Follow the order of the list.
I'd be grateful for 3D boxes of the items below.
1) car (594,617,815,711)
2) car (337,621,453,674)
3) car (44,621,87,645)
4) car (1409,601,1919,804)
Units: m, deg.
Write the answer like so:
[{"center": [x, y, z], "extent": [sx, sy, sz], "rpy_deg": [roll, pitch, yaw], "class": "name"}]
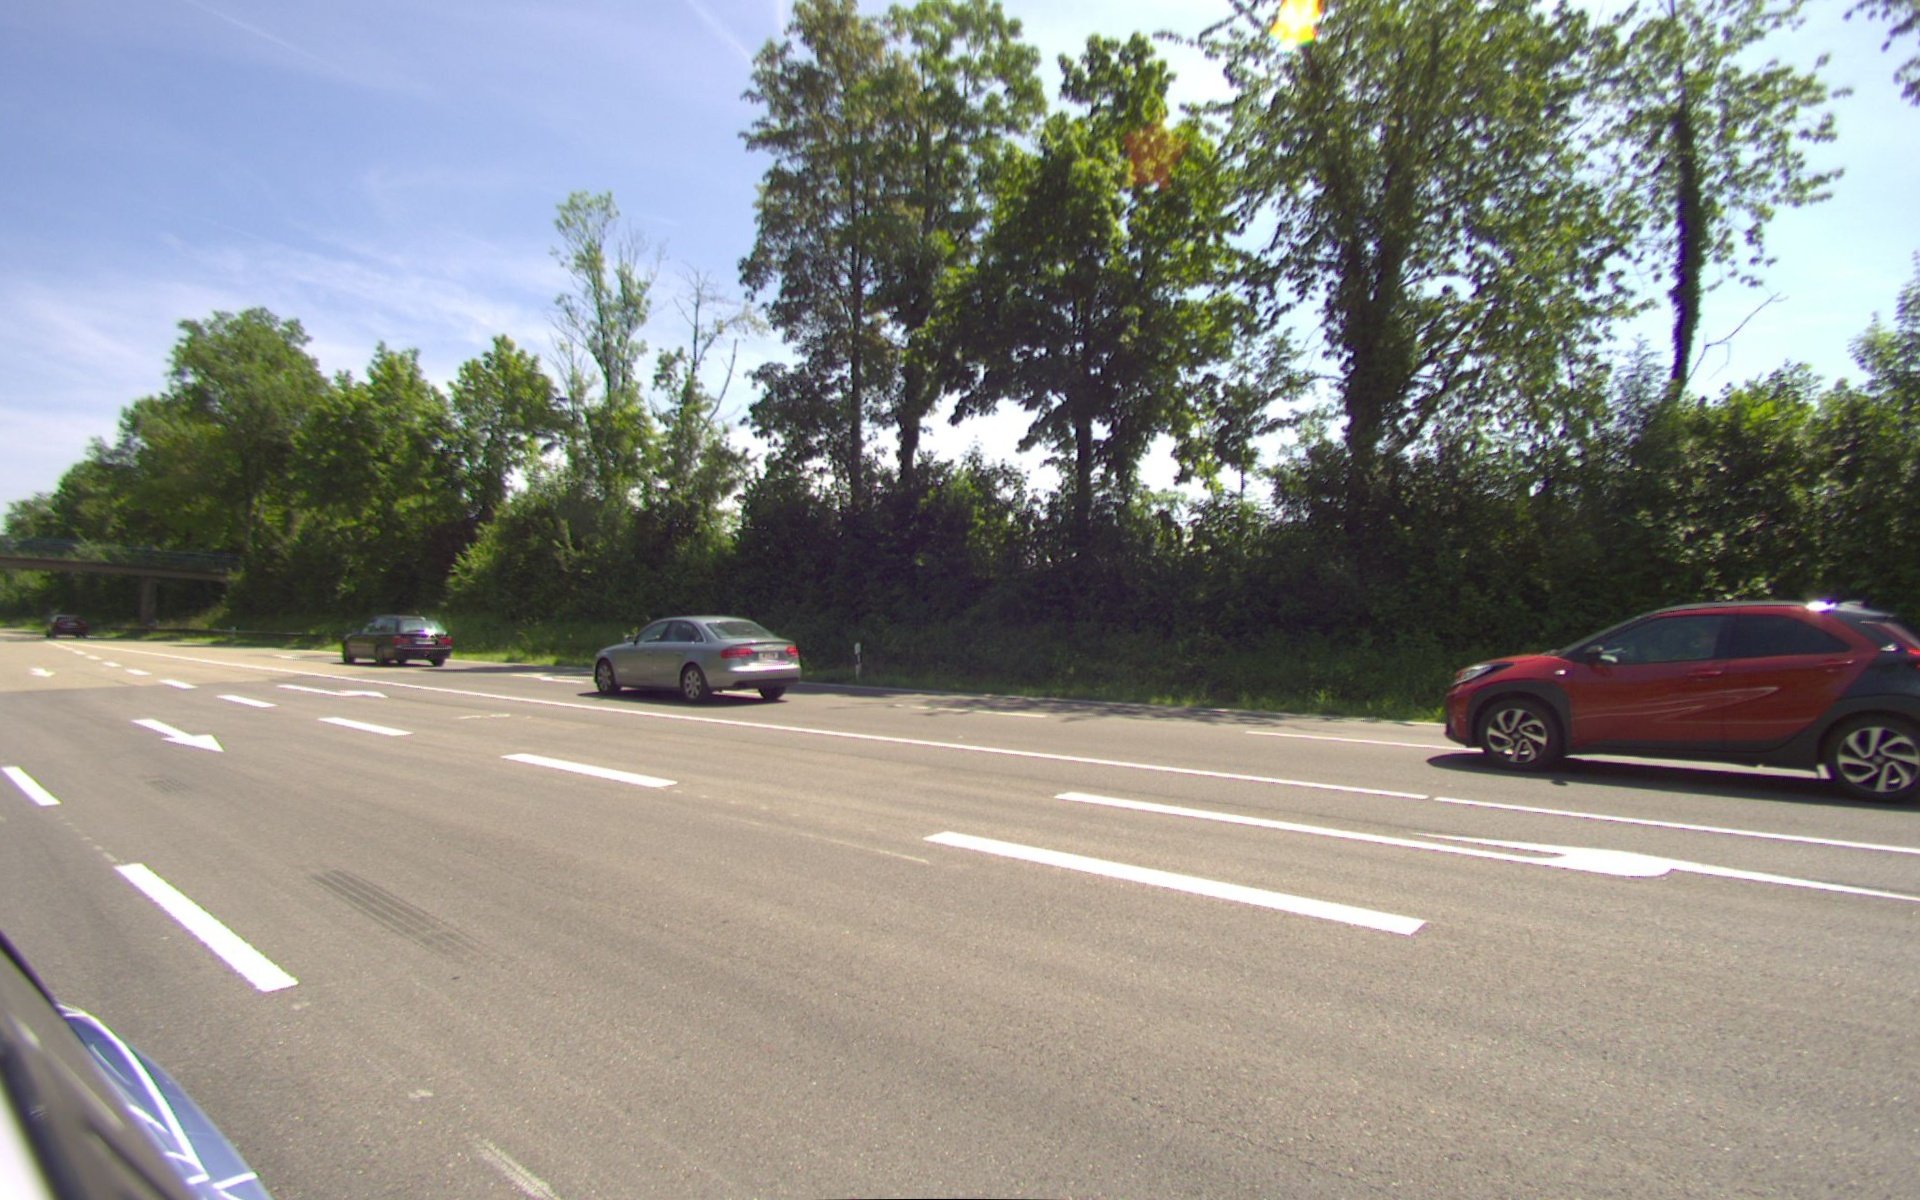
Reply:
[{"center": [-4.489, 1.014, 17.509], "extent": [3.998, 1.397, 1.748], "rpy_deg": [0, 0, 41], "class": "car"}, {"center": [-16.623, 1.337, 29.712], "extent": [3.998, 1.397, 1.748], "rpy_deg": [0, 0, 41], "class": "car"}, {"center": [-59.221, 2.162, 66.999], "extent": [3.766, 1.520, 1.881], "rpy_deg": [-1, -2, 45], "class": "car"}, {"center": [6.274, 0.770, 8.838], "extent": [4.014, 1.449, 1.624], "rpy_deg": [-1, -2, 41], "class": "car"}]
